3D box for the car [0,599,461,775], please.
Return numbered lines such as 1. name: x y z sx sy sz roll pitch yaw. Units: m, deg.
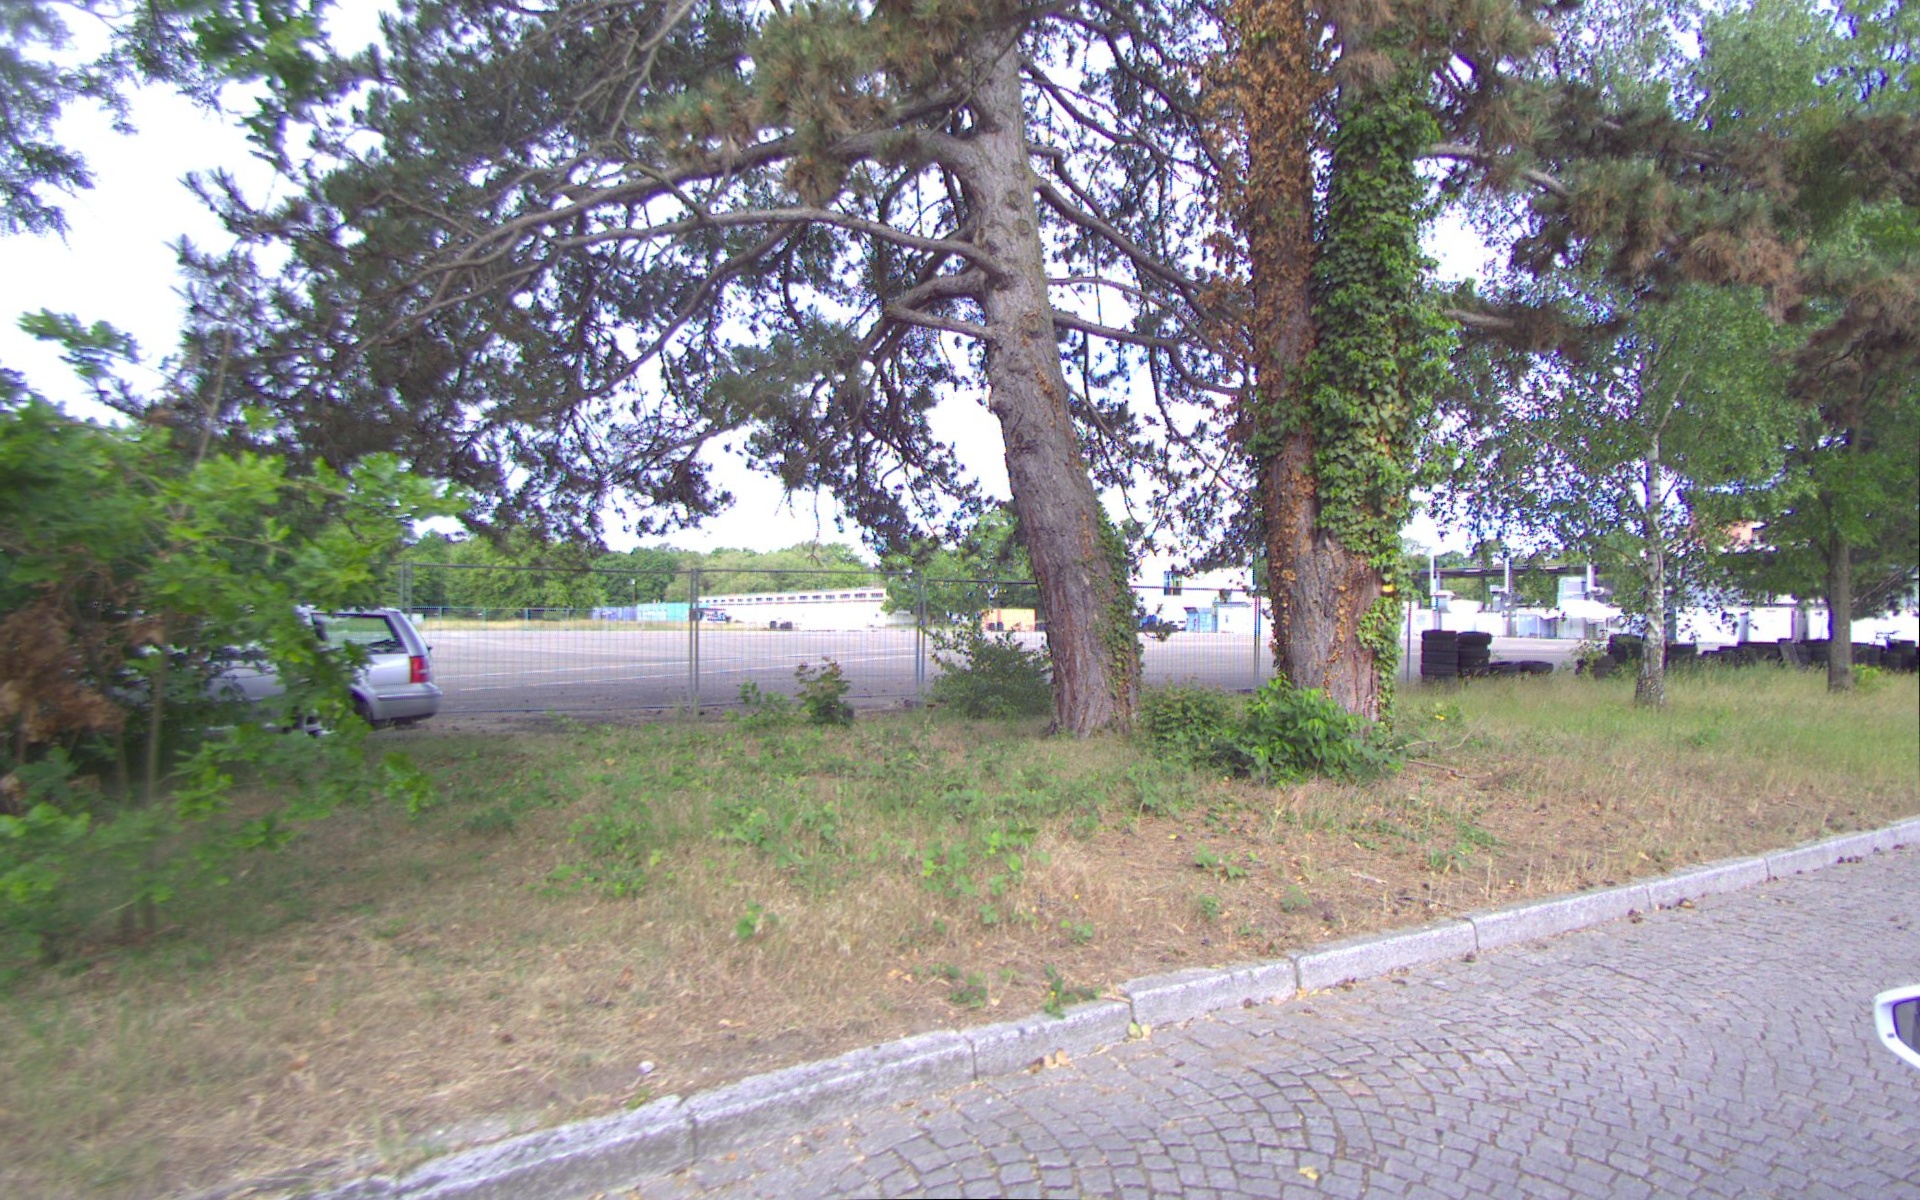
1. car: -7.309 0.772 9.623 4.373 1.435 1.815 1 -3 -33
